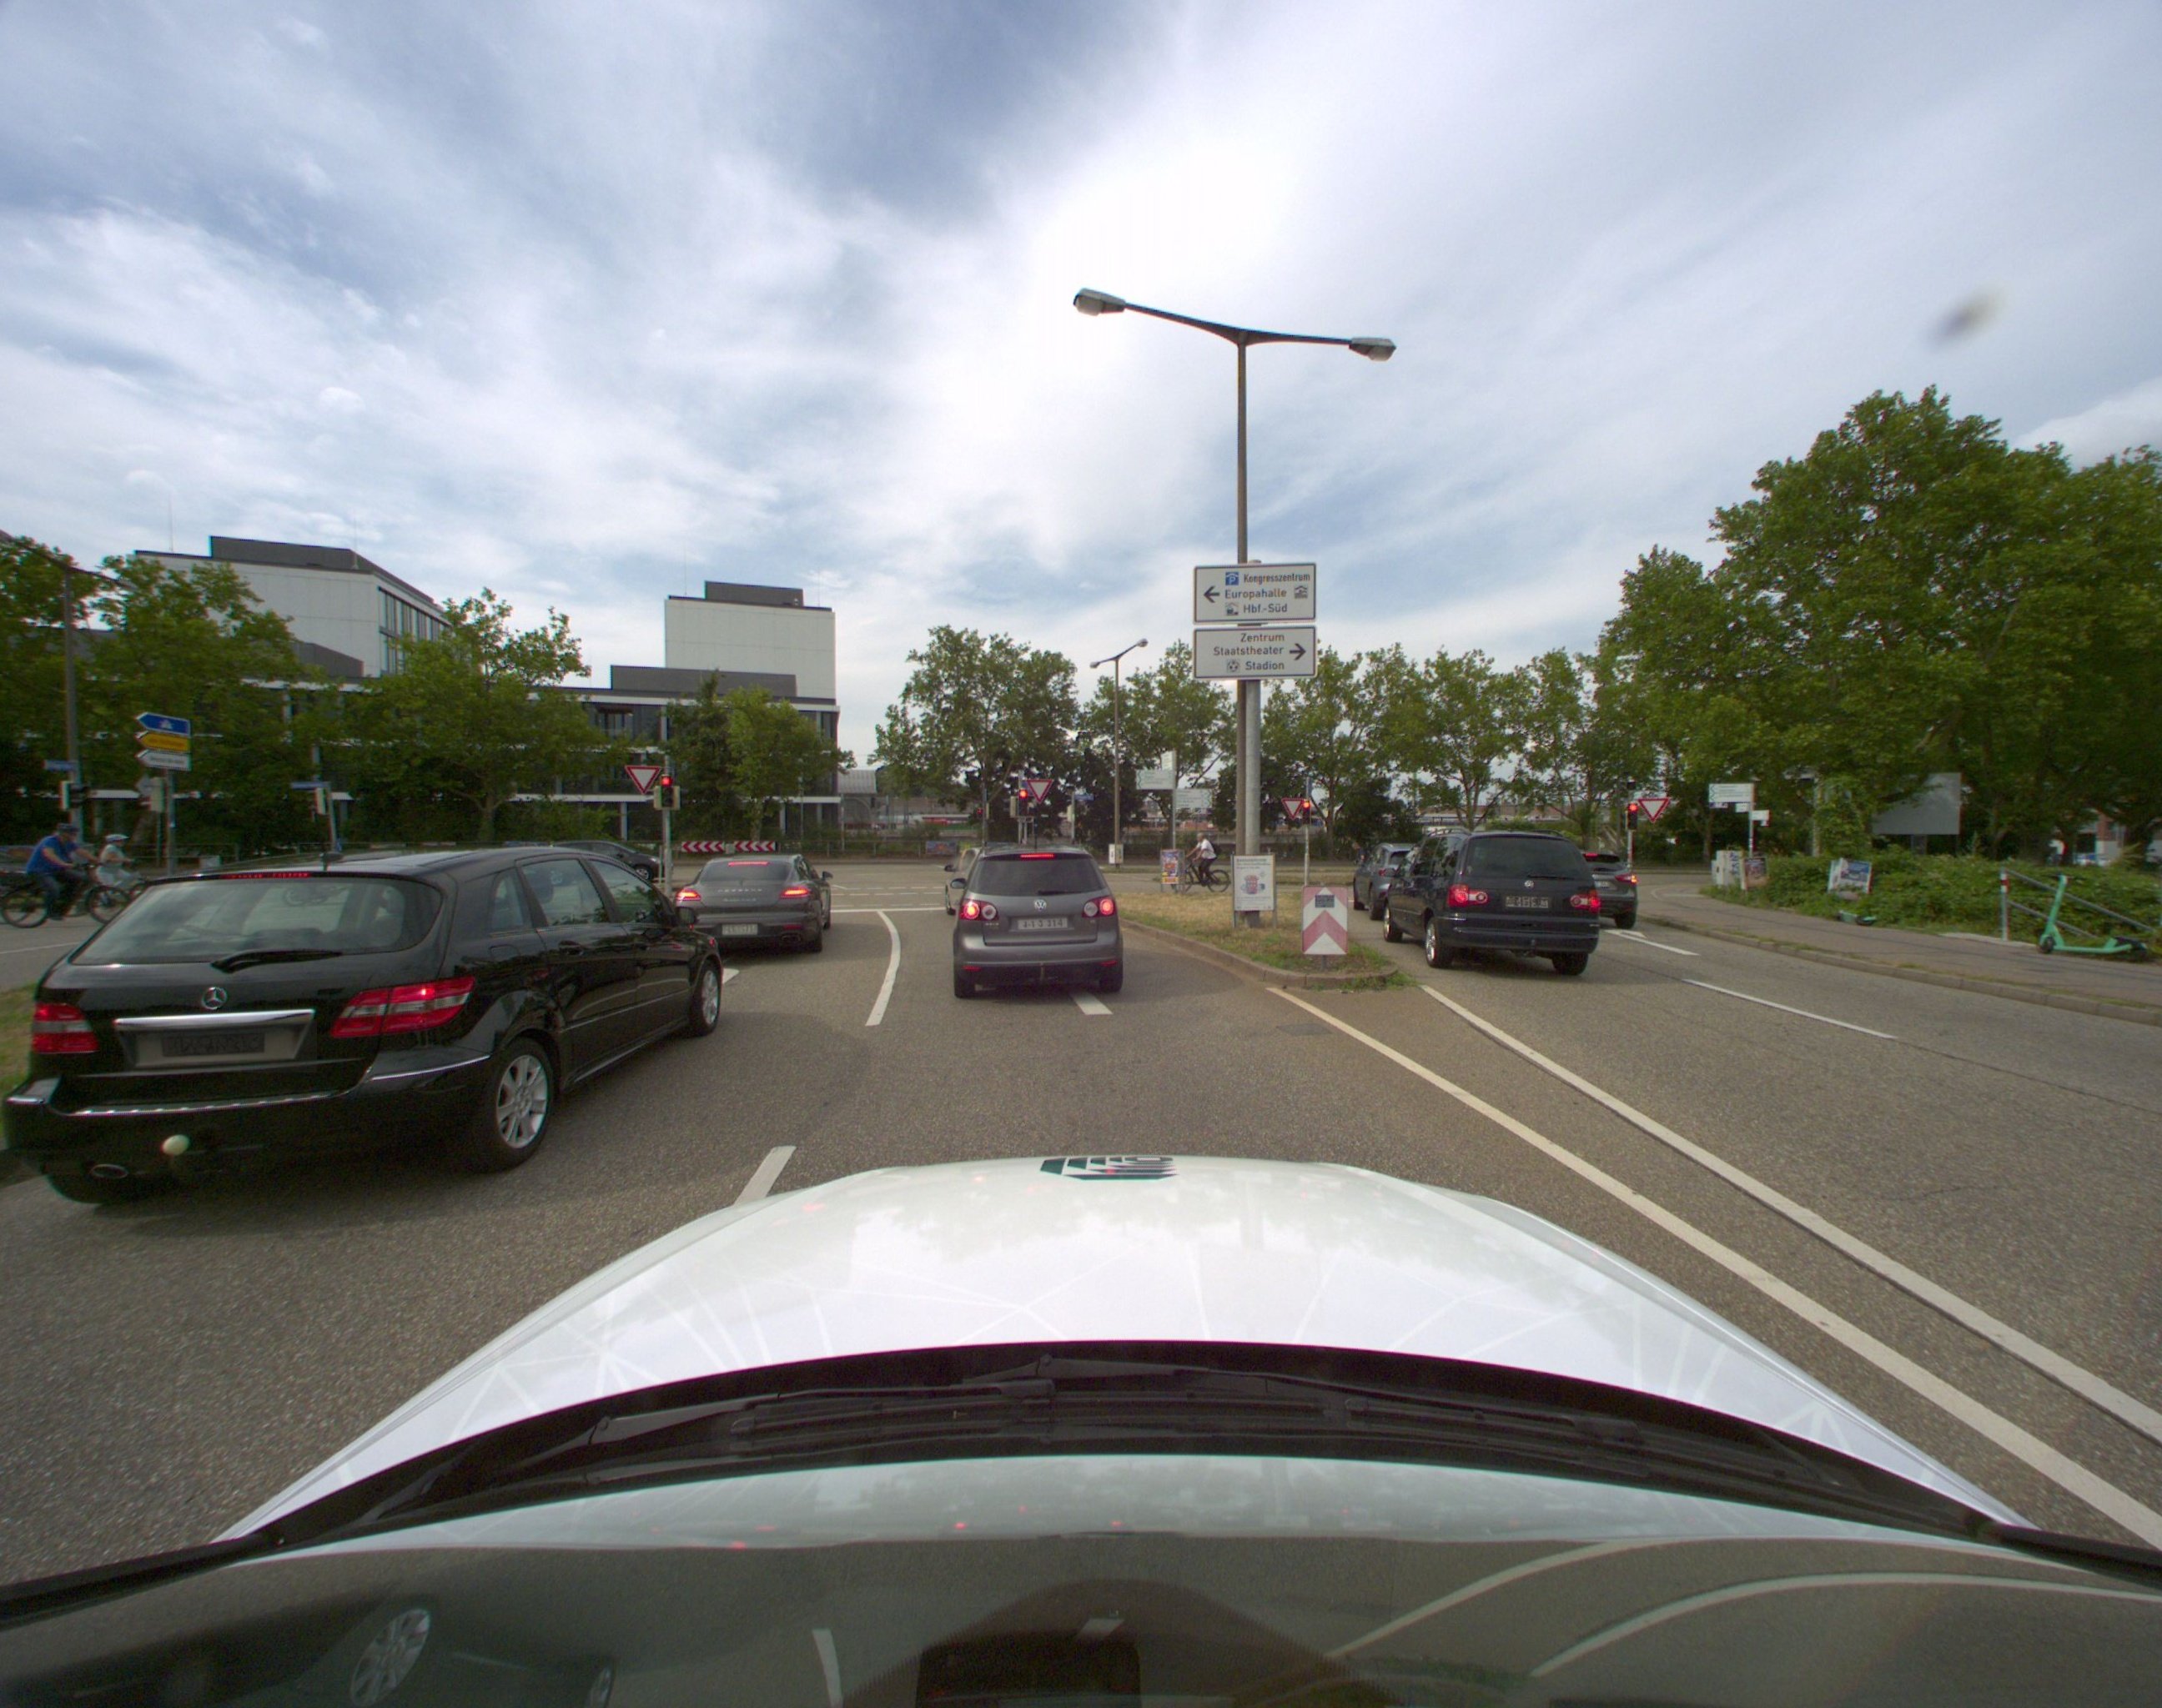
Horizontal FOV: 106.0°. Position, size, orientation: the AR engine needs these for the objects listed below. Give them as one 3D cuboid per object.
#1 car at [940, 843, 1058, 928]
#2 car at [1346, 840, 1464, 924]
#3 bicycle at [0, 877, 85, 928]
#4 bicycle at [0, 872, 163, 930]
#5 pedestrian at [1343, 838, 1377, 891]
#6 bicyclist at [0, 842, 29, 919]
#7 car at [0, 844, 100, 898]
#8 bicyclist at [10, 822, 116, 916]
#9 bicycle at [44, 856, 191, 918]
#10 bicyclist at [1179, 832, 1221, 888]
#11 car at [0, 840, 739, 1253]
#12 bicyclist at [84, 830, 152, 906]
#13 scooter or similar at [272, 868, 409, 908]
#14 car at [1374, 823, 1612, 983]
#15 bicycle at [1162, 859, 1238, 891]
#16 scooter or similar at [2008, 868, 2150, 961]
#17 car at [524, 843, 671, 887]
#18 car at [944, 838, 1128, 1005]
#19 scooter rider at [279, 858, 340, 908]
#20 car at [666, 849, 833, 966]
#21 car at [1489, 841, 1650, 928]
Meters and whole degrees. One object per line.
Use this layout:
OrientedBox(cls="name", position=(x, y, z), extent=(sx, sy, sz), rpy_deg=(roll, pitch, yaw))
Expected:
OrientedBox(cls="car", position=(-1.783, 0.537, 16.500), extent=(1.744, 1.482, 4.061), rpy_deg=(-1, 1, -15))
OrientedBox(cls="car", position=(6.971, 0.530, 17.921), extent=(1.679, 1.585, 4.170), rpy_deg=(2, 0, 12))
OrientedBox(cls="bicycle", position=(-20.784, 0.926, 15.343), extent=(2.589, 0.890, 0.701), rpy_deg=(-1, 1, -17))
OrientedBox(cls="bicycle", position=(-18.593, 0.845, 14.910), extent=(2.236, 0.952, 0.806), rpy_deg=(-1, 1, -20))
OrientedBox(cls="pedestrian", position=(9.280, 0.344, 27.108), extent=(1.039, 1.710, 0.857), rpy_deg=(1, 1, 18))
OrientedBox(cls="bicyclist", position=(-20.881, 0.501, 15.320), extent=(1.116, 1.436, 0.644), rpy_deg=(-1, 2, -16))
OrientedBox(cls="car", position=(-30.590, 0.460, 22.549), extent=(4.069, 1.450, 1.692), rpy_deg=(-1, 1, -19))
OrientedBox(cls="bicyclist", position=(-18.607, 0.248, 14.915), extent=(0.884, 1.656, 0.806), rpy_deg=(-1, 1, -20))
OrientedBox(cls="bicycle", position=(-20.613, 0.679, 17.480), extent=(1.916, 1.210, 0.636), rpy_deg=(-1, 2, -38))
OrientedBox(cls="bicyclist", position=(3.688, 0.174, 25.349), extent=(1.111, 1.696, 0.811), rpy_deg=(-1, 1, -8))
OrientedBox(cls="car", position=(-3.727, 0.720, 5.287), extent=(1.756, 1.575, 4.026), rpy_deg=(0, 2, -7))
OrientedBox(cls="bicyclist", position=(-20.622, 0.284, 17.457), extent=(0.785, 1.581, 0.647), rpy_deg=(-1, 1, -37))
OrientedBox(cls="scooter or similar", position=(-18.136, 0.816, 20.037), extent=(2.396, 0.849, 0.800), rpy_deg=(-1, 2, -35))
OrientedBox(cls="car", position=(5.323, 0.525, 11.152), extent=(1.740, 1.724, 4.149), rpy_deg=(2, 0, 10))
OrientedBox(cls="bicycle", position=(3.695, 0.640, 25.352), extent=(2.226, 0.952, 0.809), rpy_deg=(-1, 1, -8))
OrientedBox(cls="scooter or similar", position=(13.748, 0.804, 11.264), extent=(0.395, 1.183, 1.280), rpy_deg=(-1, 0, 0))
OrientedBox(cls="car", position=(-16.233, 0.343, 27.602), extent=(4.075, 1.368, 1.689), rpy_deg=(-1, 1, -24))
OrientedBox(cls="car", position=(-0.675, 0.613, 9.785), extent=(1.740, 1.546, 4.071), rpy_deg=(-1, 1, -7))
OrientedBox(cls="scooter rider", position=(-18.634, 0.693, 19.688), extent=(0.920, 1.137, 0.800), rpy_deg=(-1, 1, -34))
OrientedBox(cls="car", position=(-4.927, 0.656, 12.742), extent=(1.822, 1.414, 4.752), rpy_deg=(0, 1, -15))
OrientedBox(cls="car", position=(10.525, 0.584, 17.914), extent=(1.739, 1.643, 4.151), rpy_deg=(2, 0, 11))
